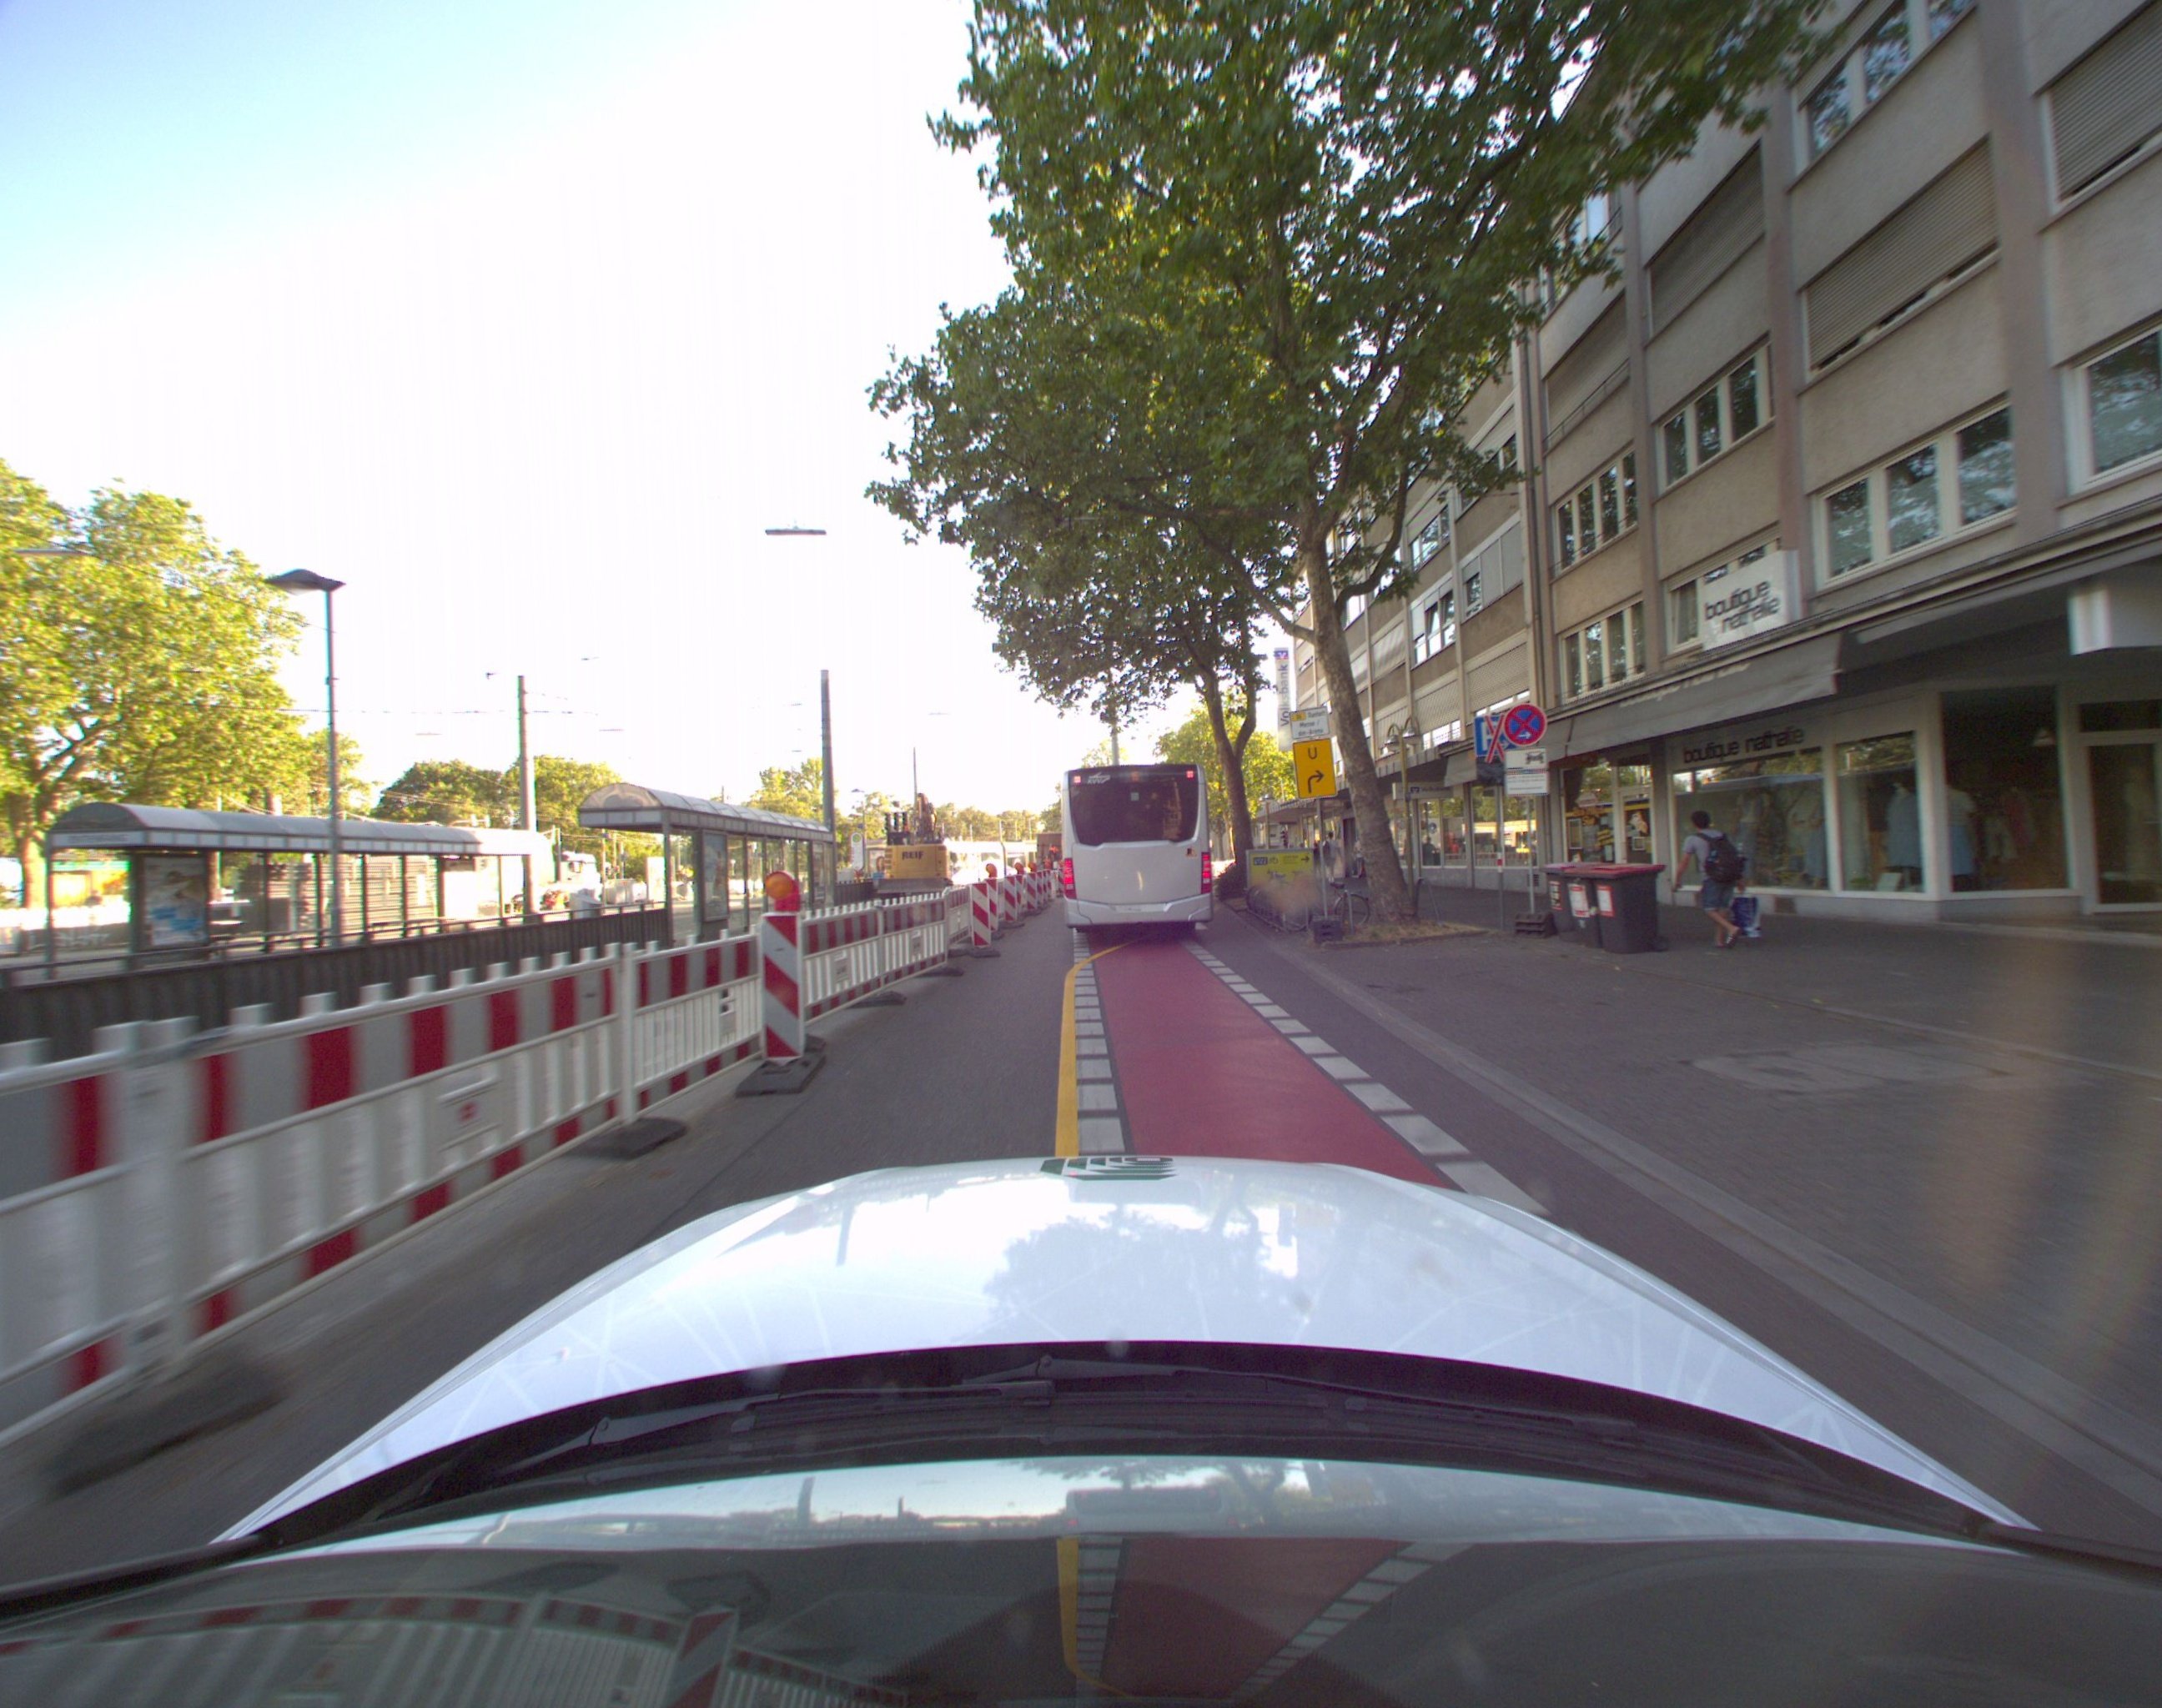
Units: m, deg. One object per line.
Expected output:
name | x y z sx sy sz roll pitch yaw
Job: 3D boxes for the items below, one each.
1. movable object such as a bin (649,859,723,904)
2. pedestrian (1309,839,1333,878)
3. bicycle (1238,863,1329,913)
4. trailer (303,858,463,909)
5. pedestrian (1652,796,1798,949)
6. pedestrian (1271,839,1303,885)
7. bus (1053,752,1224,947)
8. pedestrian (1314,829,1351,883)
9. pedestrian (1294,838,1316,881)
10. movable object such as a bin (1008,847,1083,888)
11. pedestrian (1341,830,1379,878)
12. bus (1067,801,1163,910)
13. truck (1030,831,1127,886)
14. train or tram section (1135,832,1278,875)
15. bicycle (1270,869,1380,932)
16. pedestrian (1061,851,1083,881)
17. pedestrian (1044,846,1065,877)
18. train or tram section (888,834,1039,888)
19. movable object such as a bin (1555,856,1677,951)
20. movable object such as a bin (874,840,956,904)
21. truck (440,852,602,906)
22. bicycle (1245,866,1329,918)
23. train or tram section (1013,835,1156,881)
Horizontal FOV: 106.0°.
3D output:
movable object such as a bin | -25.091 1.689 51.934 2.142 2.639 4.602 -3 -1 3
pedestrian | 10.015 0.179 33.977 0.630 1.573 0.774 -5 0 1
bicycle | 4.954 0.825 19.987 1.982 1.058 0.770 -4 -1 -2
trailer | -54.438 2.275 63.782 9.218 3.798 2.885 0 -2 -11
pedestrian | 7.587 0.211 9.657 0.840 1.673 0.990 -4 -1 1
pedestrian | 8.142 0.305 32.245 0.896 1.710 1.071 -4 -1 1
bus | 0.977 -0.060 18.755 2.724 3.139 10.702 -2 0 0
pedestrian | 9.360 0.081 30.348 0.835 1.869 1.099 -7 -1 1
pedestrian | 9.332 0.219 33.899 0.581 1.708 0.679 -5 -1 1
movable object such as a bin | -2.009 0.745 48.113 1.975 2.256 5.239 -1 0 28
pedestrian | 10.649 -0.009 31.136 0.896 1.697 1.071 -8 -1 1
bus | 1.038 0.077 28.566 2.699 3.107 8.979 -2 -1 0
truck | 0.005 0.238 57.688 2.785 3.541 9.038 -3 -1 28
train or tram section | 11.699 -0.045 75.120 13.334 3.519 2.631 -2 -1 -20
bicycle | 4.473 0.843 15.007 1.784 1.022 0.643 -4 -1 -2
pedestrian | -0.557 0.735 50.689 0.965 1.798 1.075 -2 -1 18
pedestrian | -1.777 0.484 54.242 0.927 2.013 1.007 -2 1 26
train or tram section | -8.267 0.449 60.407 2.822 3.533 13.481 -3 -1 33
movable object such as a bin | 6.725 0.587 10.306 0.671 1.075 1.228 -5 -1 1
movable object such as a bin | -6.628 0.709 33.116 2.638 2.318 4.893 -2 0 -5
truck | -44.839 2.002 65.536 10.396 3.790 2.892 -2 -1 -9
bicycle | 4.688 0.863 18.587 1.706 1.058 0.644 -4 -1 2
train or tram section | 0.535 0.265 69.397 12.836 3.549 2.708 -1 -1 -34
